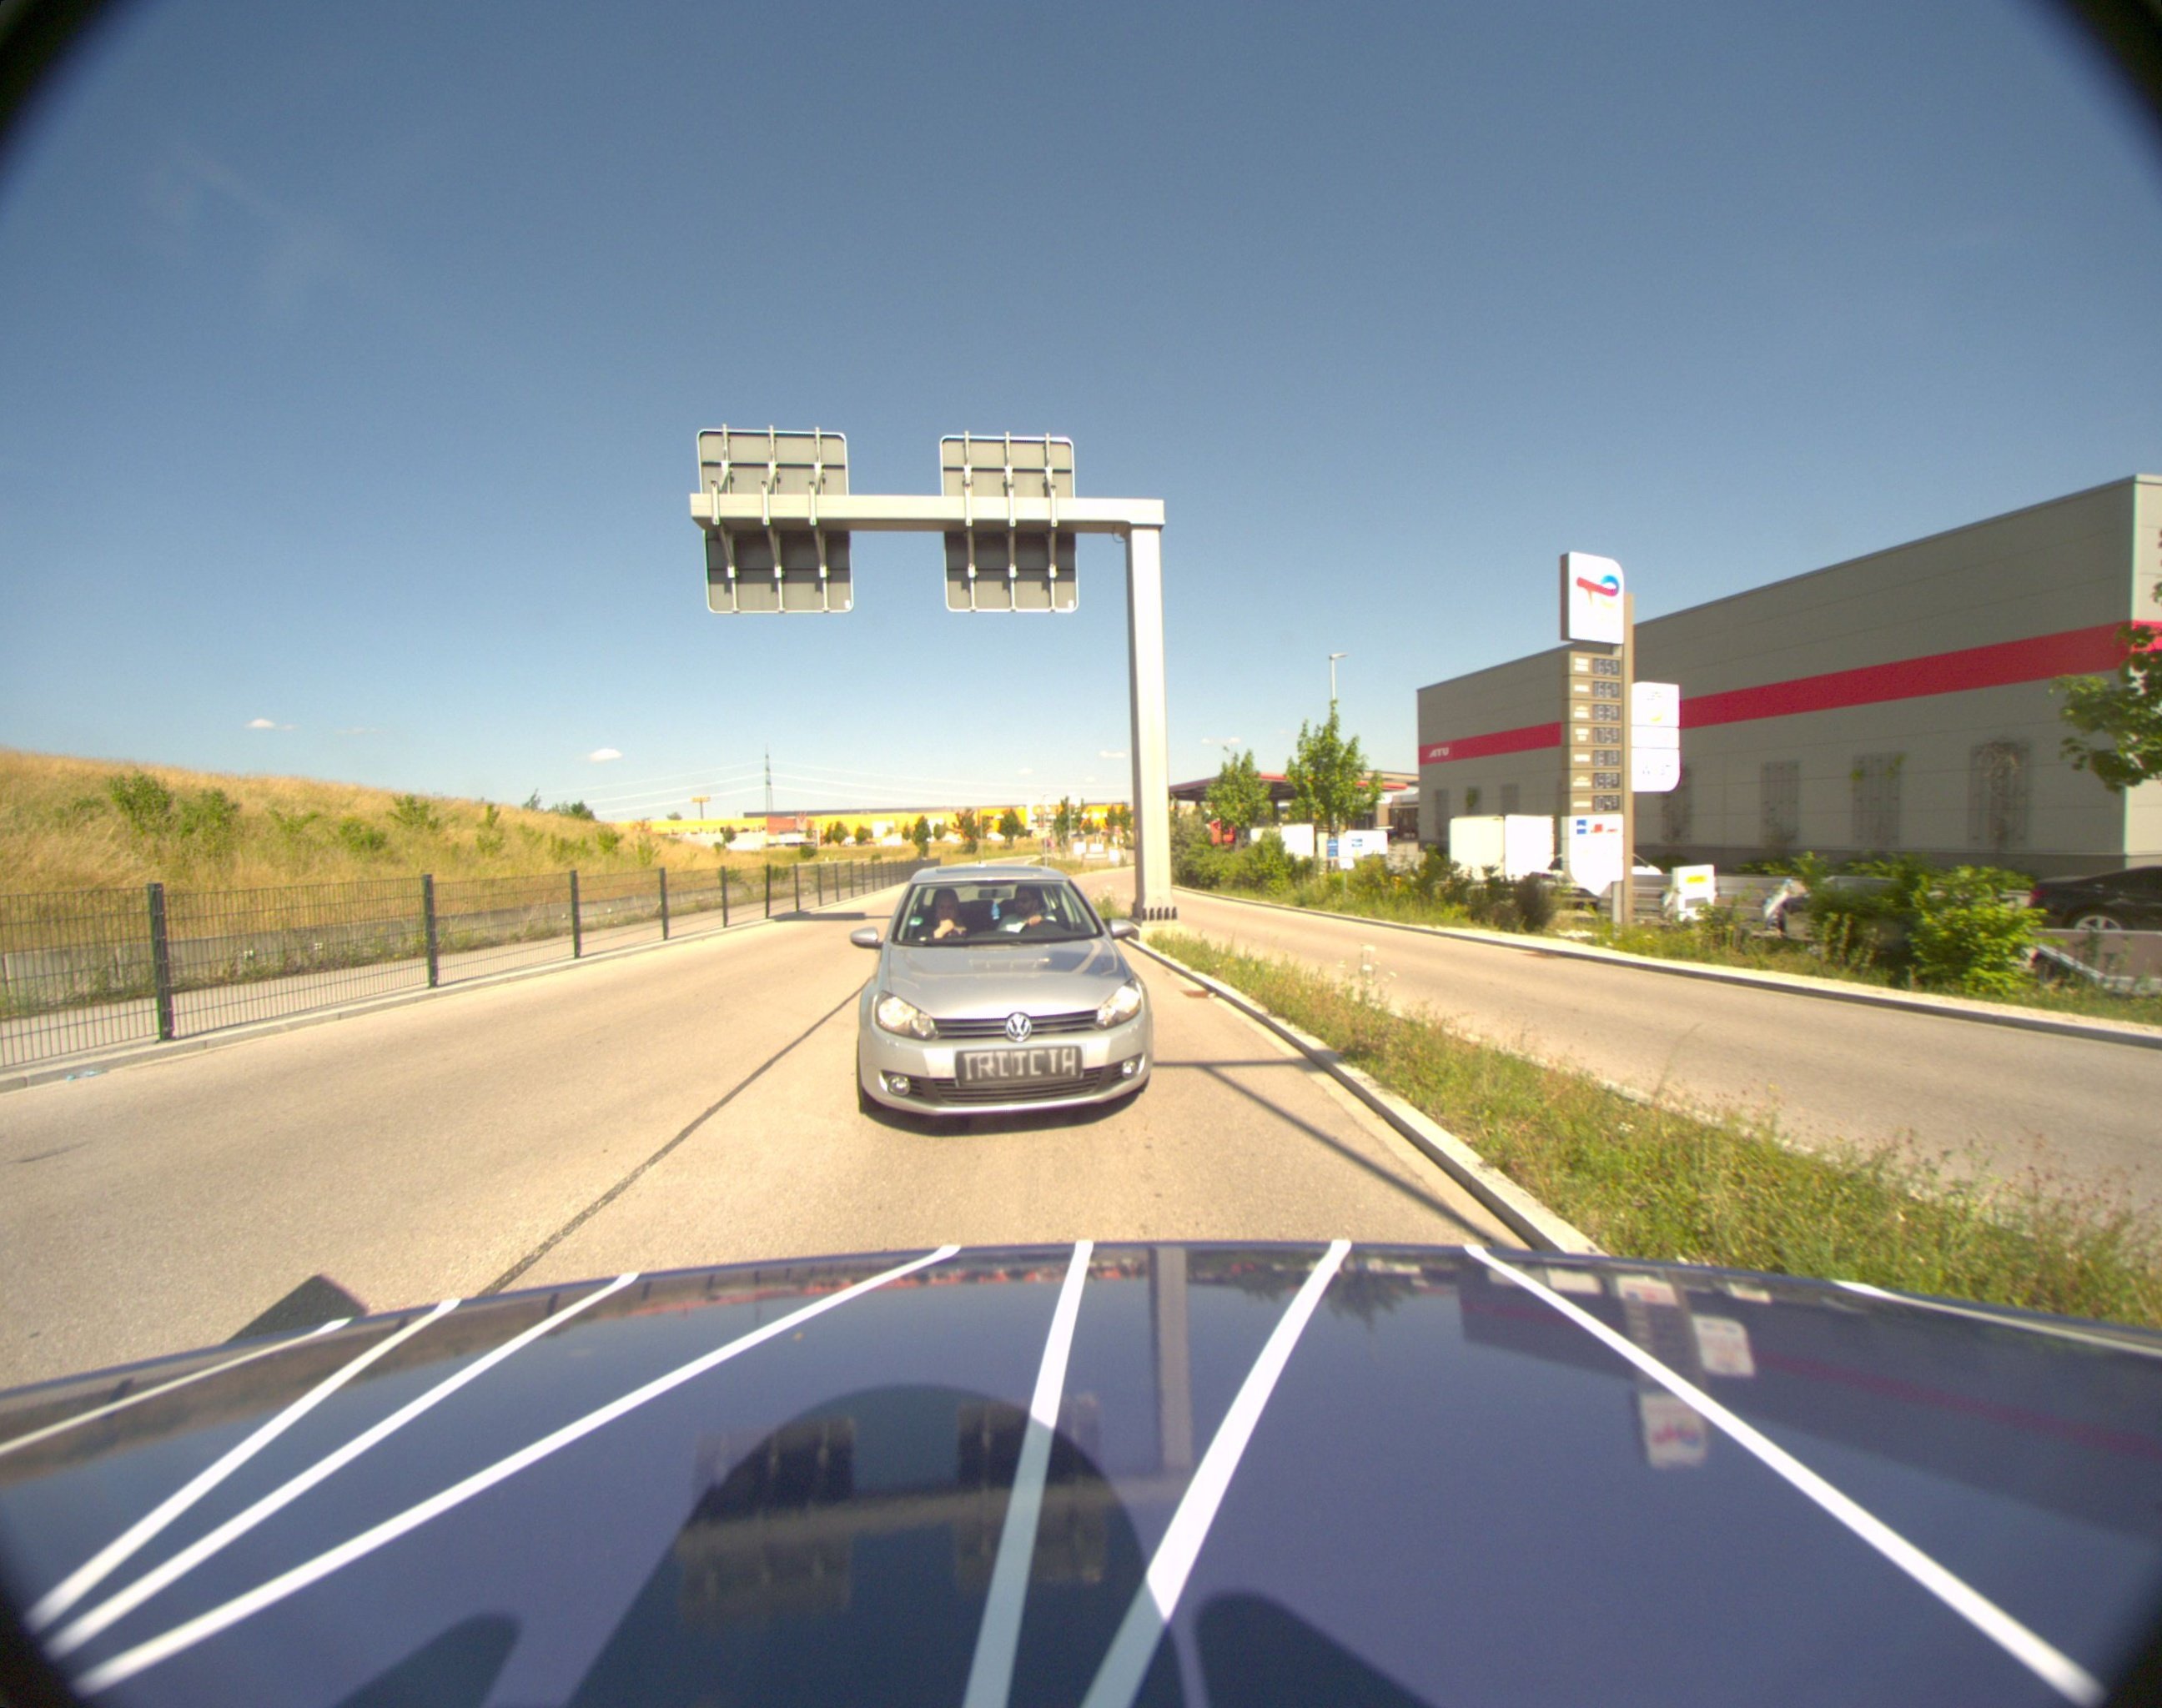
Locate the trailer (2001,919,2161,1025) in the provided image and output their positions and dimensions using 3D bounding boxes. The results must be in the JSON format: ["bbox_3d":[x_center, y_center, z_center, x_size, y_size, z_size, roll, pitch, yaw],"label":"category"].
[{"bbox_3d":[13.416,1.473,9.858,2.842,0.877,1.861,-4,2,-39],"label":"trailer"}]

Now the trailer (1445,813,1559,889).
[{"bbox_3d":[12.322,-0.115,22.205,3.245,2.002,1.743,-4,2,-38],"label":"trailer"}]

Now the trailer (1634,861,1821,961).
[{"bbox_3d":[11.992,0.968,14.084,3.195,1.475,1.545,-3,2,-28],"label":"trailer"}]

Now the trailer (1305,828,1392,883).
[{"bbox_3d":[10.670,0.050,30.314,2.741,2.002,1.995,-4,2,-34],"label":"trailer"}]

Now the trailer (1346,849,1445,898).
[{"bbox_3d":[11.526,0.685,27.780,3.605,1.502,1.596,-4,1,-34],"label":"trailer"}]

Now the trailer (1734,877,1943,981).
[{"bbox_3d":[12.310,1.142,12.350,2.915,1.314,1.387,-3,2,-22],"label":"trailer"}]

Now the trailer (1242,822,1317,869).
[{"bbox_3d":[9.303,-0.397,35.456,1.994,2.002,3.212,-1,2,44],"label":"trailer"}]

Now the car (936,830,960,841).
[{"bbox_3d":[-26.454,-3.758,151.449,4.637,2.002,1.998,-3,2,-11],"label":"car"}]

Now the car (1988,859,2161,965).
[{"bbox_3d":[17.097,0.886,11.225,1.803,1.475,4.494,-3,1,-6],"label":"car"}]

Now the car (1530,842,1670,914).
[{"bbox_3d":[13.528,0.562,19.732,4.006,1.527,1.714,-4,2,-36],"label":"car"}]

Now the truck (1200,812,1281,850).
[{"bbox_3d":[15.060,-2.172,71.706,6.910,3.300,2.637,-3,2,-17],"label":"truck"}]

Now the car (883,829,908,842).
[{"bbox_3d":[-36.589,-3.649,149.885,4.637,2.534,1.998,-3,2,-11],"label":"car"}]

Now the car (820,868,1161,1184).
[{"bbox_3d":[-0.707,0.907,5.894,1.747,1.459,3.957,0,1,-8],"label":"car"}]

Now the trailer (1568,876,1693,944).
[{"bbox_3d":[11.345,1.092,15.657,2.780,1.080,1.317,-4,2,-37],"label":"trailer"}]

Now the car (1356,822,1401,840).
[{"bbox_3d":[29.187,-2.274,74.642,3.683,1.566,1.695,-3,2,-1],"label":"car"}]
